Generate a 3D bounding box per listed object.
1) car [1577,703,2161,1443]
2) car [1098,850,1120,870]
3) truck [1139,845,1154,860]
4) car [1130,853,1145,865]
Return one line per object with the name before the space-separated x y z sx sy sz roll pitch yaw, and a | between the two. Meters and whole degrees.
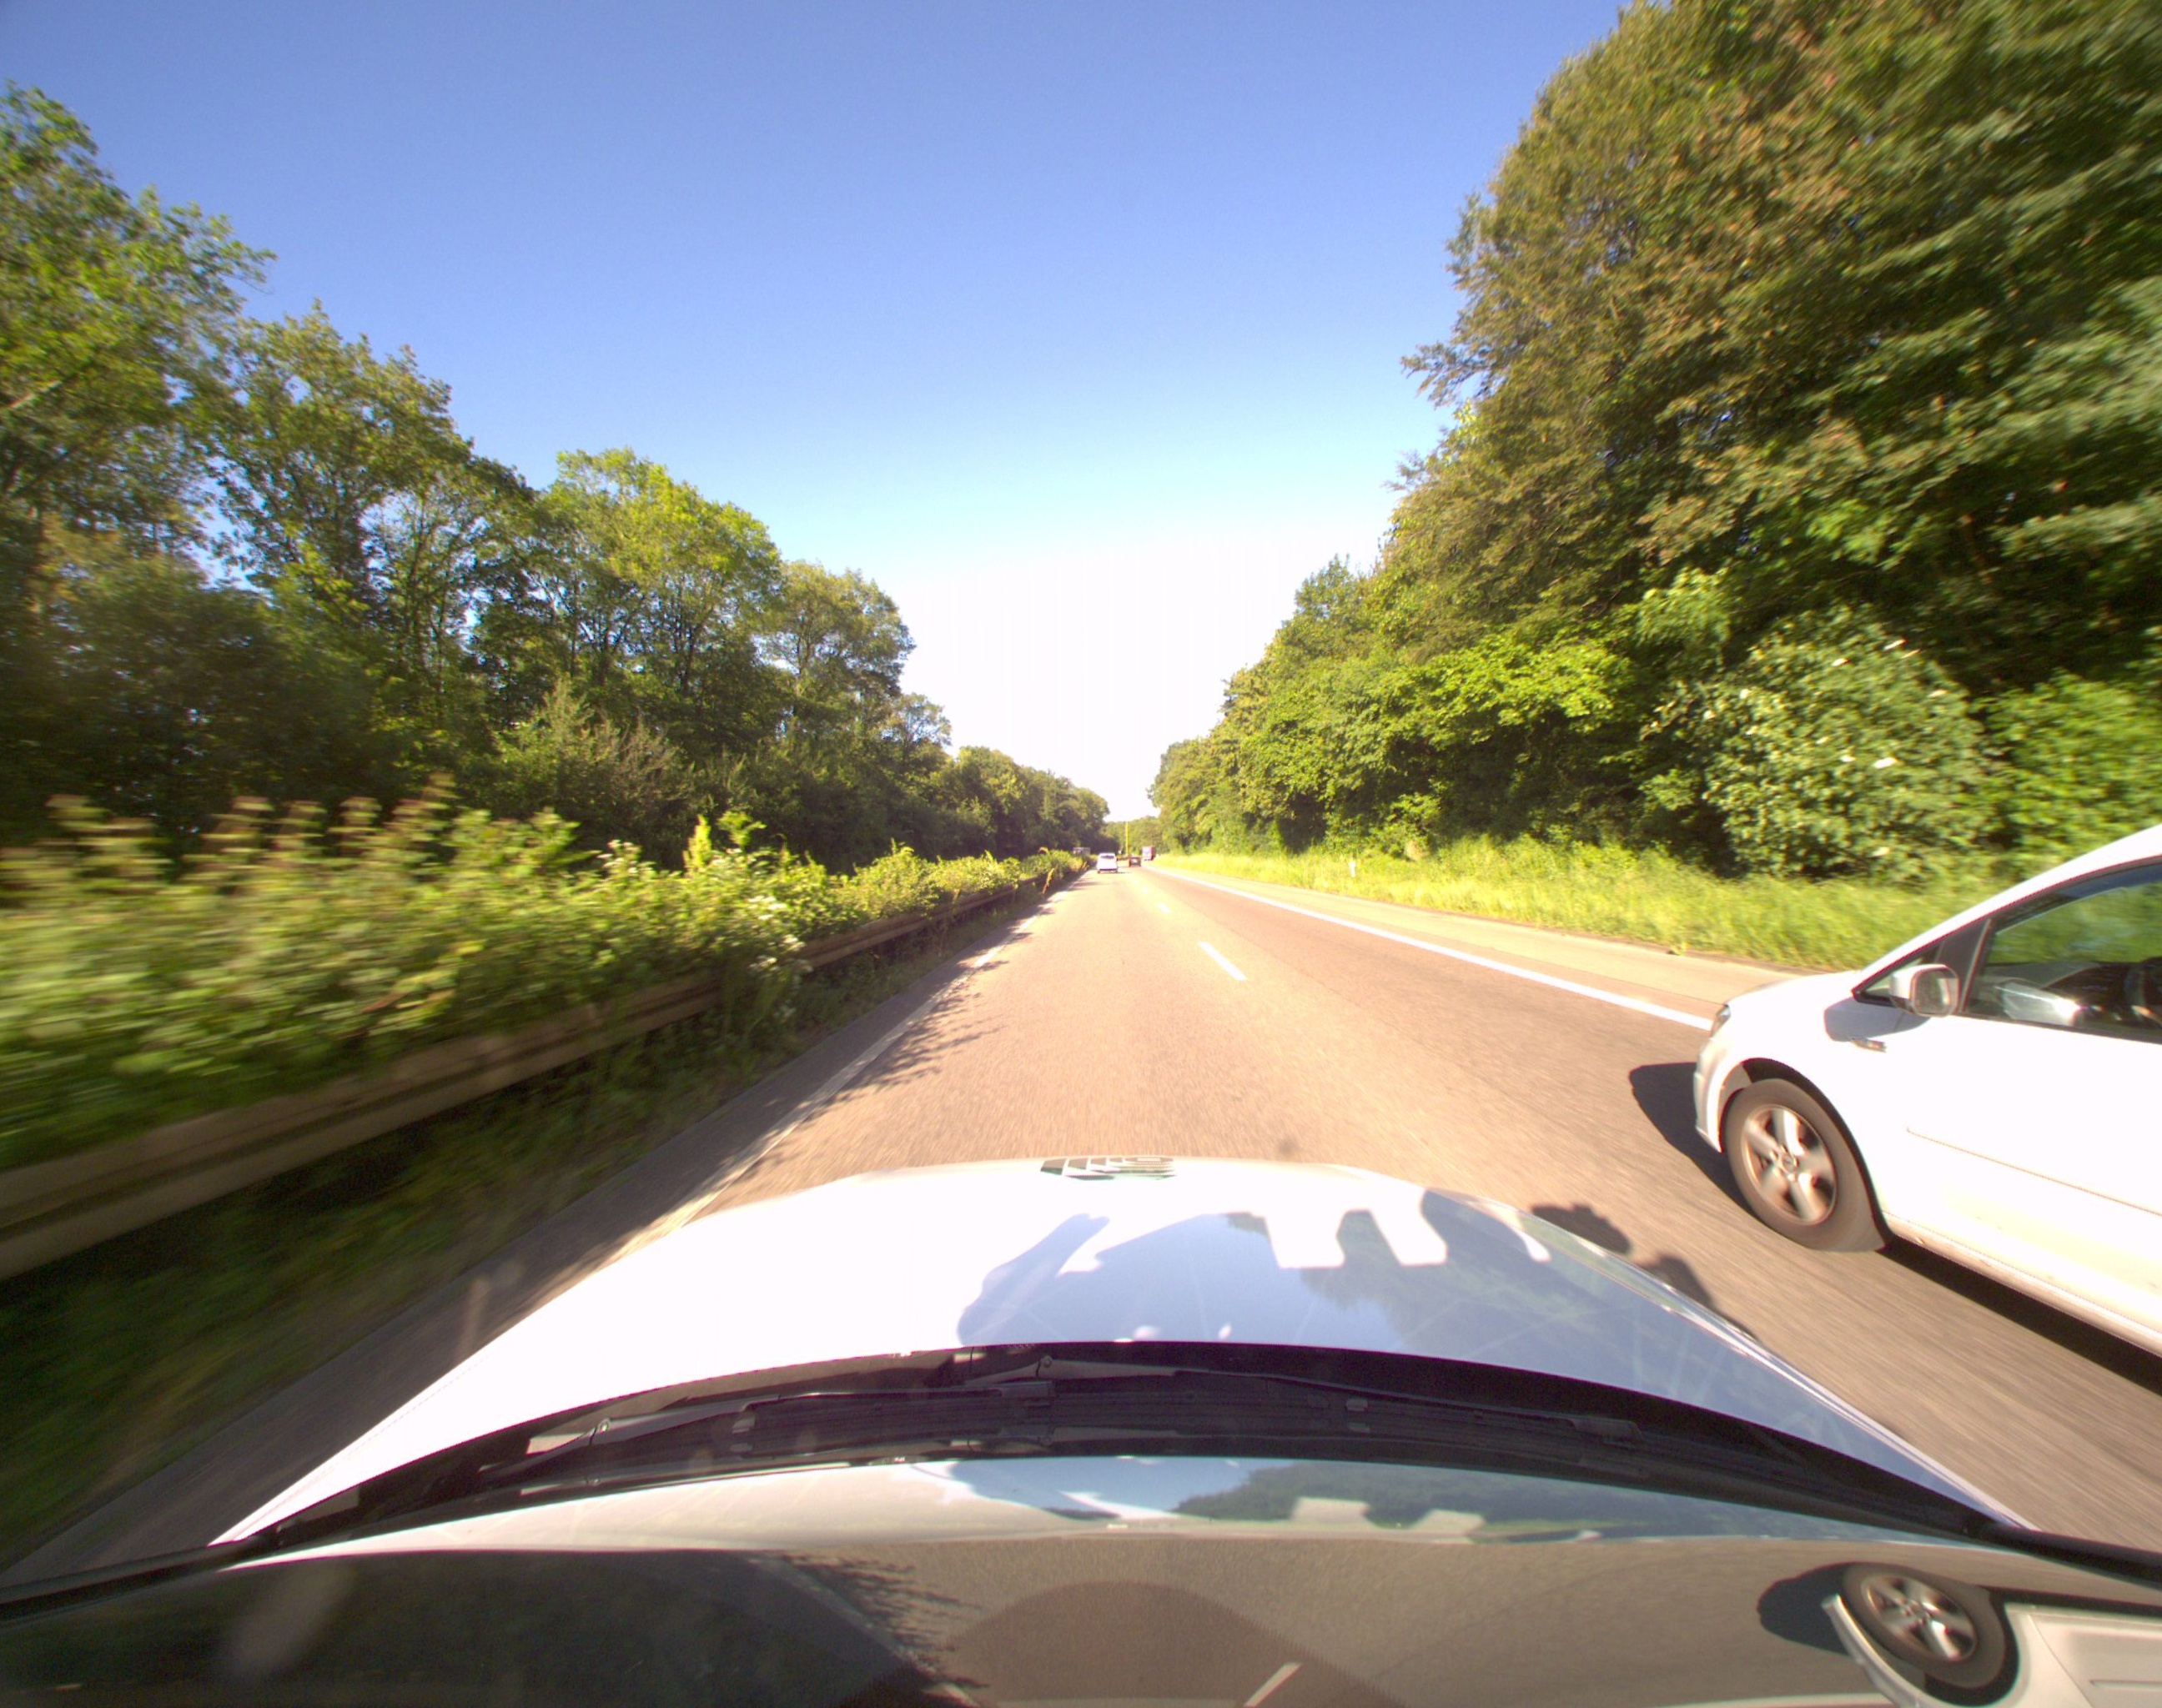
car | 3.543 0.532 2.122 1.792 1.813 4.589 0 -1 1
car | 2.566 0.566 74.330 1.944 1.782 4.589 0 -1 1
truck | 18.872 -0.433 232.840 3.713 4.343 9.325 -1 -1 8
car | 8.283 0.722 120.081 1.944 1.782 4.589 0 -1 1
